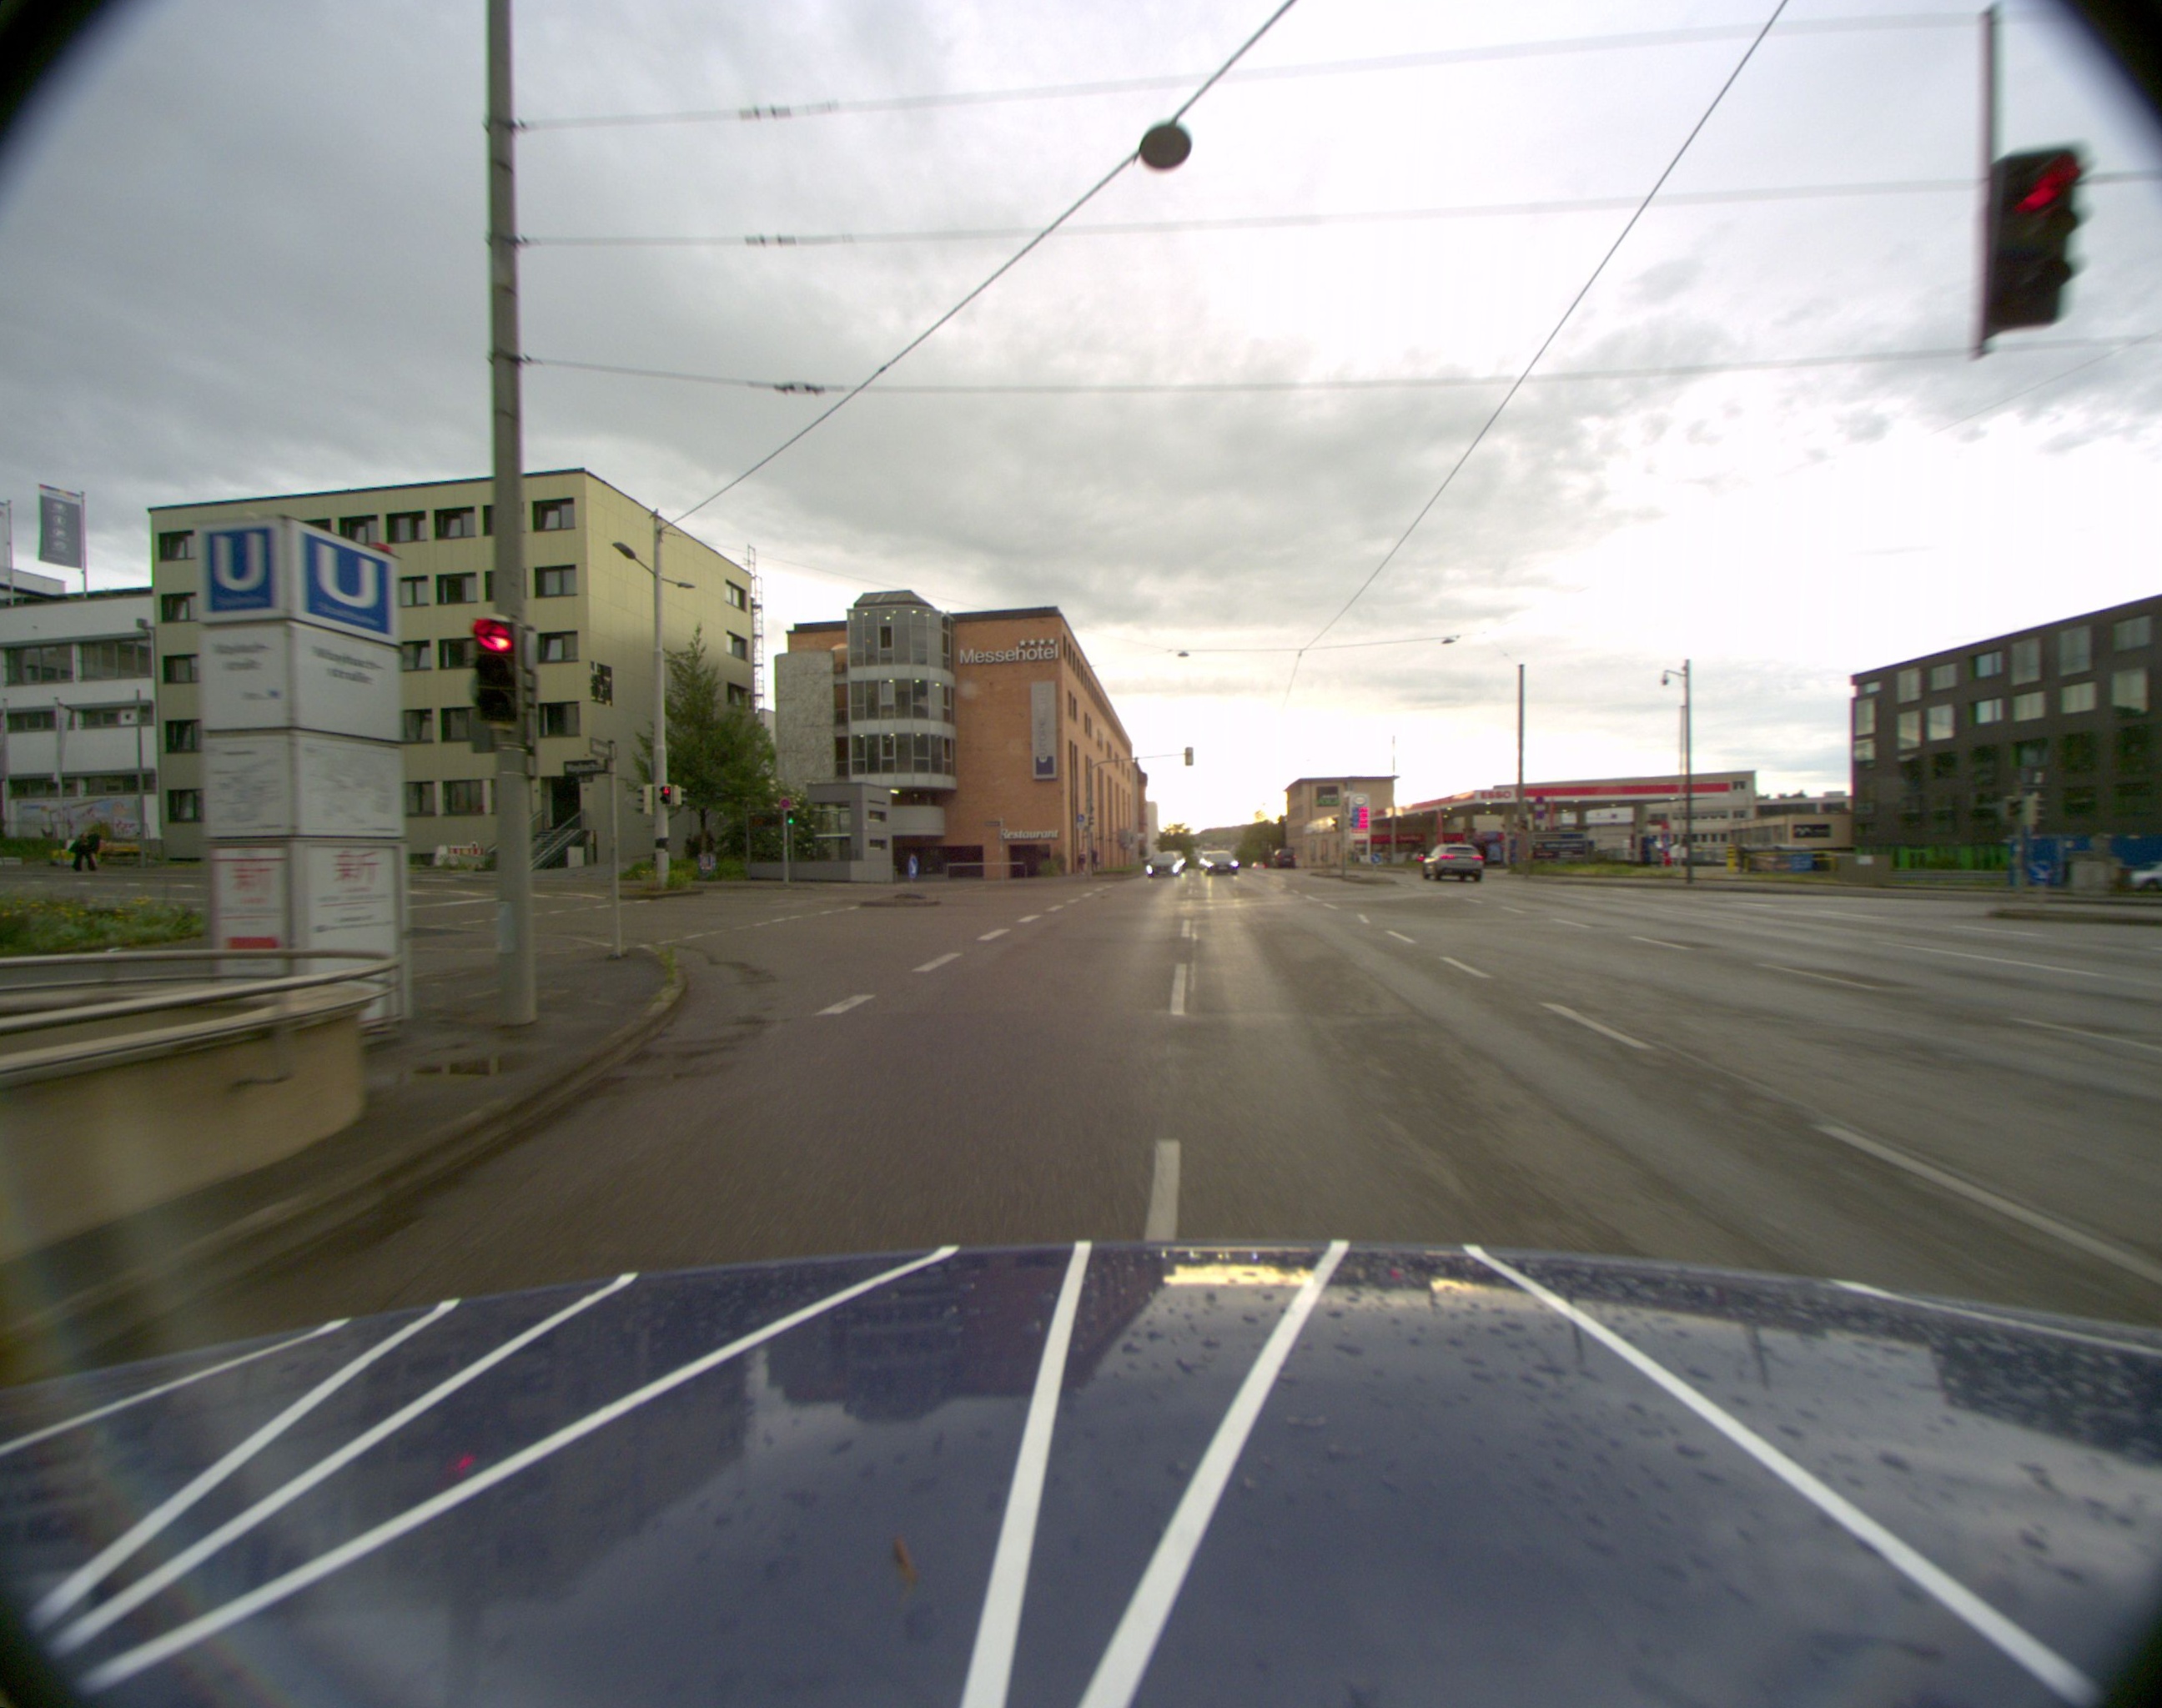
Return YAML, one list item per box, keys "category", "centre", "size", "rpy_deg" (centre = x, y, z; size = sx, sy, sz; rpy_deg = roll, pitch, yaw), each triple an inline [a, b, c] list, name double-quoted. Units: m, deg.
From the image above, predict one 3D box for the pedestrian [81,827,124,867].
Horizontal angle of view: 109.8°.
- category: "pedestrian"
  centre: [-43.552, -0.306, 33.822]
  size: [0.940, 1.722, 0.757]
  rpy_deg: [2, 3, 8]

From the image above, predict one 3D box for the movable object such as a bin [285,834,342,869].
- category: "movable object such as a bin"
  centre: [-33.167, -0.119, 32.848]
  size: [1.428, 1.438, 1.058]
  rpy_deg: [2, 4, 10]

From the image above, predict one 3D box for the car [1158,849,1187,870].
- category: "car"
  centre: [6.334, 0.351, 52.535]
  size: [1.695, 1.392, 4.091]
  rpy_deg: [-1, 0, 10]

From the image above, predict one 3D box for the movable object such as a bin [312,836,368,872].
- category: "movable object such as a bin"
  centre: [-31.703, -0.008, 32.526]
  size: [1.356, 1.438, 1.058]
  rpy_deg: [2, 4, 10]

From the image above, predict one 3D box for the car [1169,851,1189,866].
- category: "car"
  centre: [9.672, 0.443, 74.544]
  size: [1.695, 1.392, 4.091]
  rpy_deg: [-1, 0, 10]

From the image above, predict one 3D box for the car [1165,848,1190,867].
- category: "car"
  centre: [7.628, 0.242, 59.804]
  size: [1.695, 1.392, 4.091]
  rpy_deg: [-1, 0, 10]

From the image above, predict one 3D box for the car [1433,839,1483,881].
- category: "car"
  centre: [17.256, 0.221, 34.891]
  size: [1.909, 1.623, 4.216]
  rpy_deg: [3, 4, 25]

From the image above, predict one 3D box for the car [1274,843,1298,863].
- category: "car"
  centre: [19.218, -0.128, 71.290]
  size: [1.855, 1.758, 4.134]
  rpy_deg: [1, 2, 12]

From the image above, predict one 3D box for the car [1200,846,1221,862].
- category: "car"
  centre: [11.533, -0.031, 67.473]
  size: [1.695, 1.392, 4.091]
  rpy_deg: [-1, 0, 10]

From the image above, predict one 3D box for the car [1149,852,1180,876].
- category: "car"
  centre: [5.042, 0.586, 45.396]
  size: [1.648, 1.313, 4.002]
  rpy_deg: [-1, 1, 9]

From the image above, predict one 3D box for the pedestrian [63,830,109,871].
- category: "pedestrian"
  centre: [-41.843, -0.146, 31.961]
  size: [0.967, 1.667, 0.769]
  rpy_deg: [2, 3, 10]

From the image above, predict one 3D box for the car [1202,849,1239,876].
- category: "car"
  centre: [8.389, 0.470, 45.977]
  size: [1.963, 1.516, 4.264]
  rpy_deg: [-2, 0, 8]

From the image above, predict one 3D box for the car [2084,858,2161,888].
- category: "car"
  centre: [52.078, 0.934, 36.784]
  size: [3.993, 1.281, 1.803]
  rpy_deg: [2, 3, 12]
